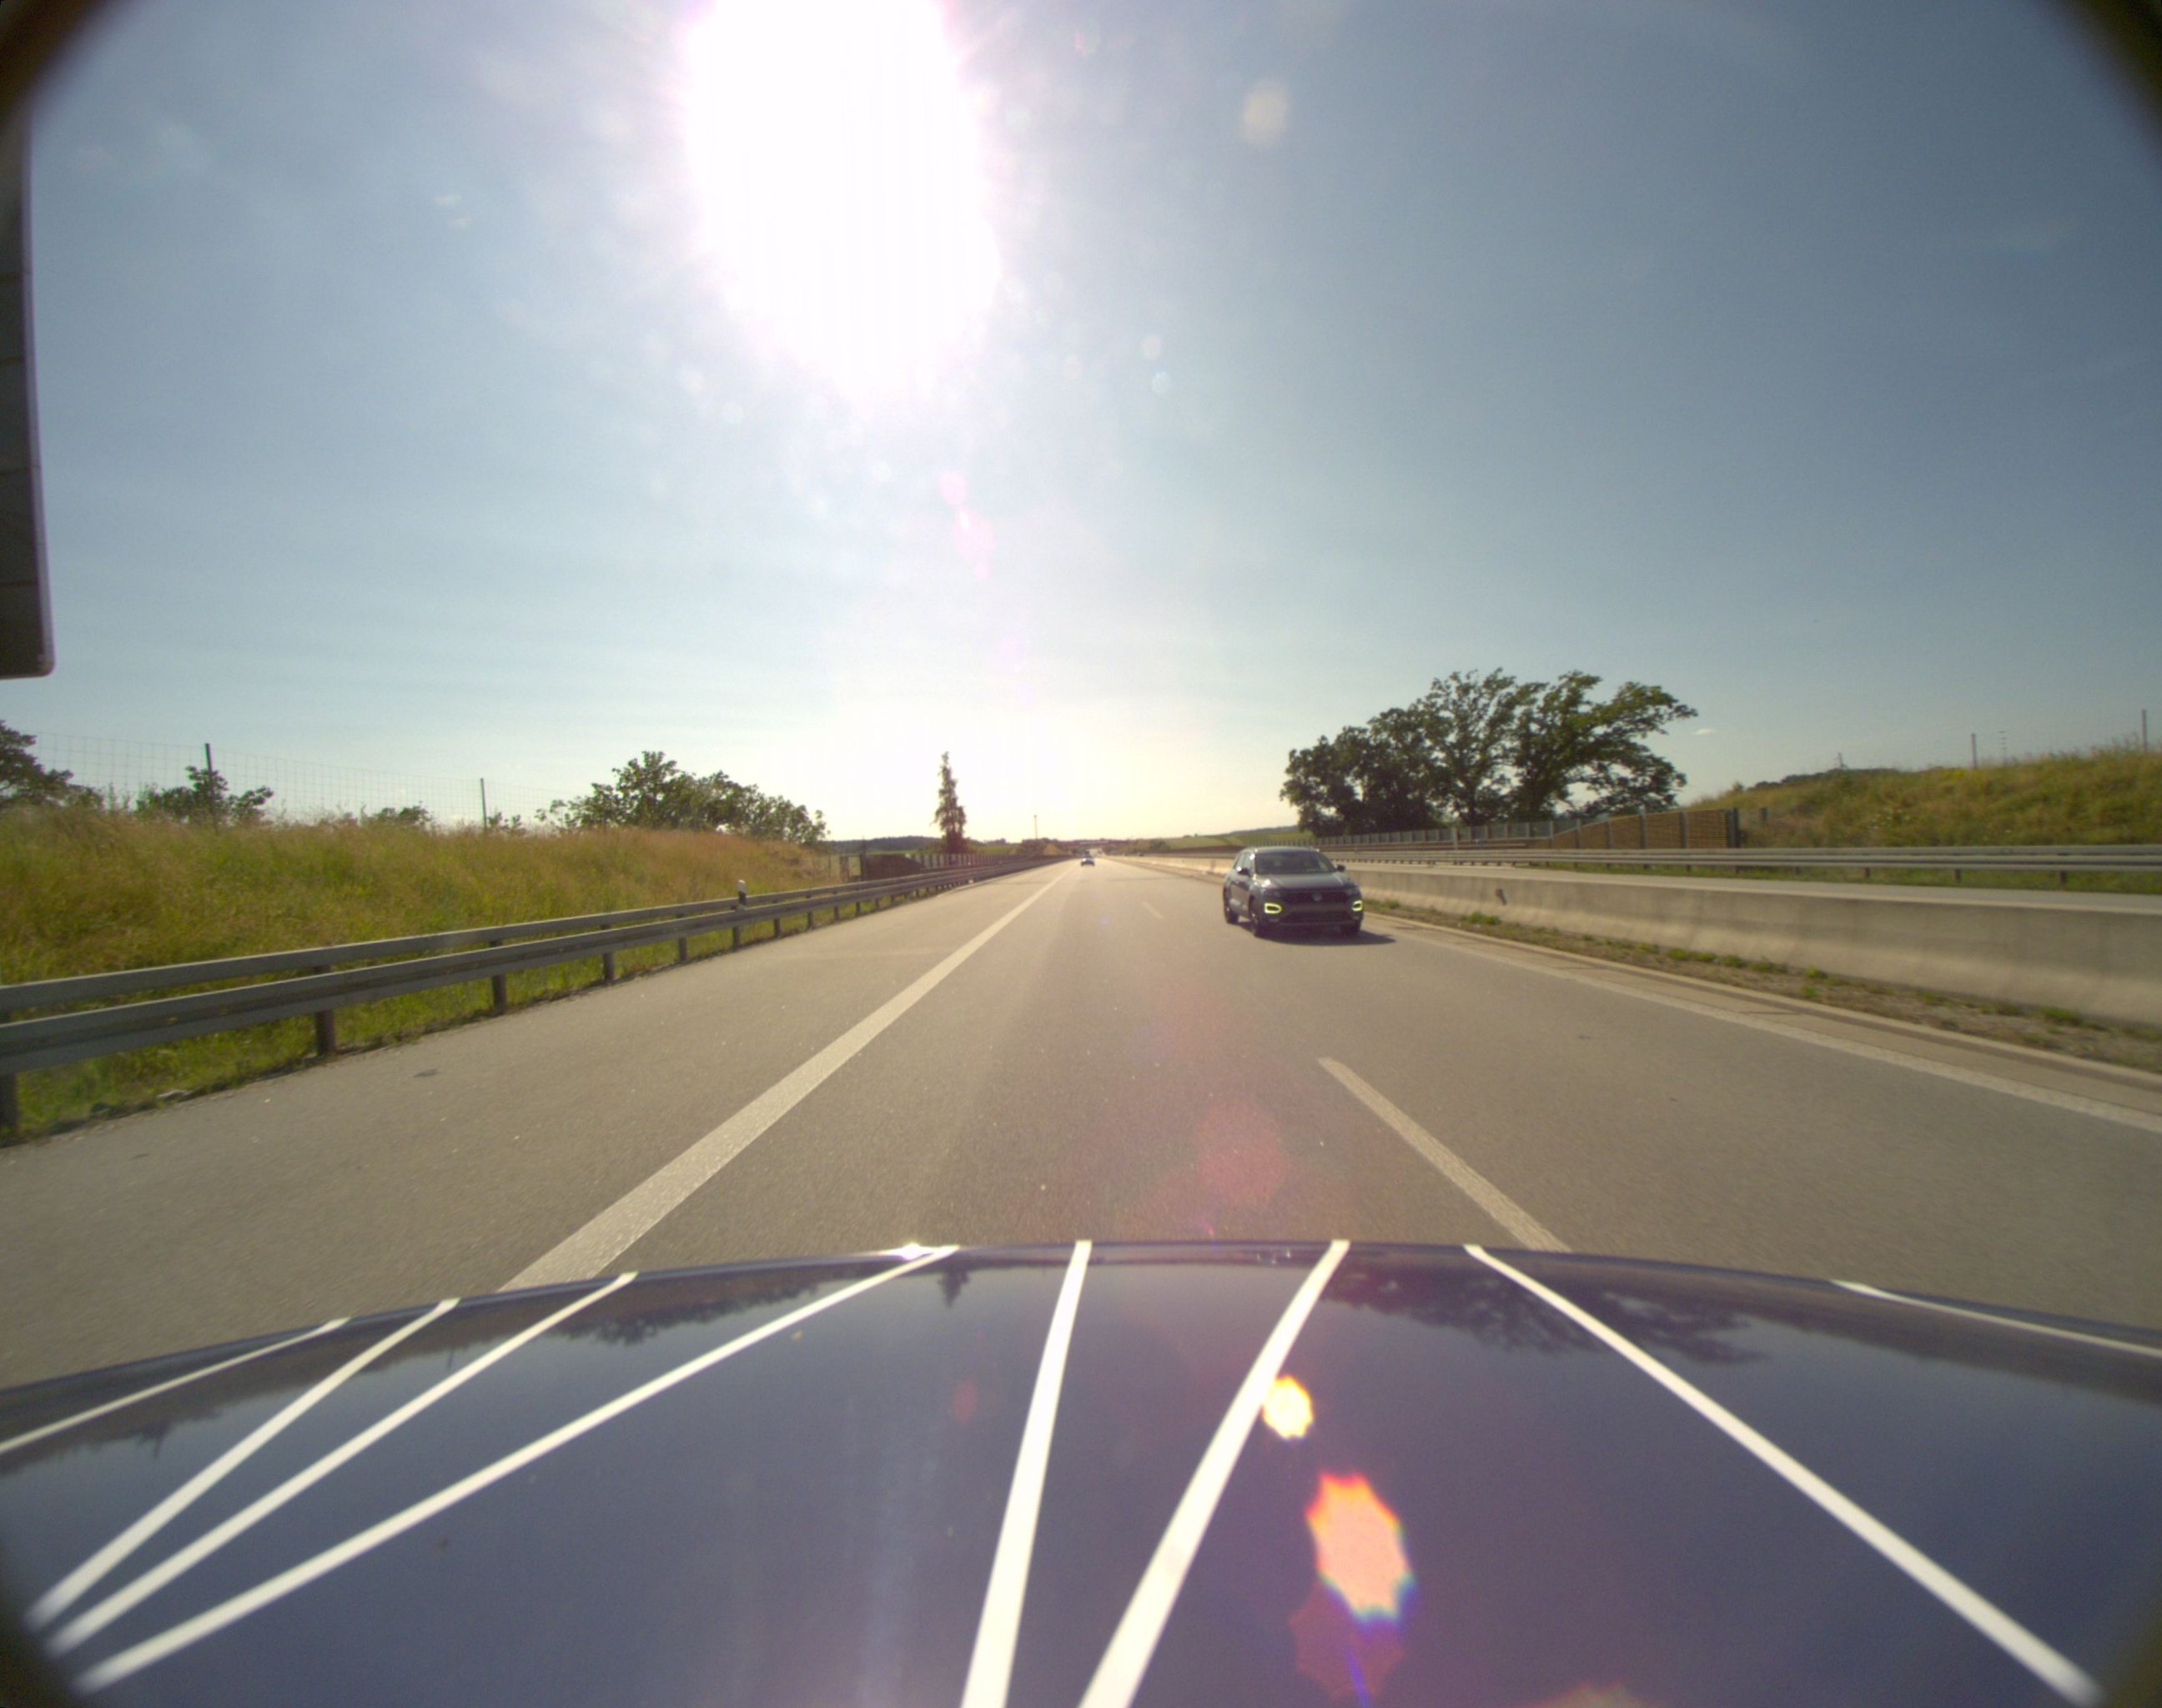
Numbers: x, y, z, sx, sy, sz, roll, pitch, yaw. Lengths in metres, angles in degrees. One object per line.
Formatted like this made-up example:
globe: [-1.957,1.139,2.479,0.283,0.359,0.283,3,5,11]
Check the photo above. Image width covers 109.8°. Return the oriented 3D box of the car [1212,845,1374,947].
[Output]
car: [3.821,0.655,14.637,1.776,1.560,4.988,-2,0,1]

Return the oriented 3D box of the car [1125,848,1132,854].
car: [13.226,-0.766,213.323,1.731,1.494,4.624,-2,0,0]

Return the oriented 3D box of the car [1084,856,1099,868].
car: [1.412,1.012,100.537,1.909,1.449,4.376,-2,0,2]

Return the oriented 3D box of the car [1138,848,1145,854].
car: [16.391,-0.817,205.026,1.583,1.449,4.449,-2,0,0]
